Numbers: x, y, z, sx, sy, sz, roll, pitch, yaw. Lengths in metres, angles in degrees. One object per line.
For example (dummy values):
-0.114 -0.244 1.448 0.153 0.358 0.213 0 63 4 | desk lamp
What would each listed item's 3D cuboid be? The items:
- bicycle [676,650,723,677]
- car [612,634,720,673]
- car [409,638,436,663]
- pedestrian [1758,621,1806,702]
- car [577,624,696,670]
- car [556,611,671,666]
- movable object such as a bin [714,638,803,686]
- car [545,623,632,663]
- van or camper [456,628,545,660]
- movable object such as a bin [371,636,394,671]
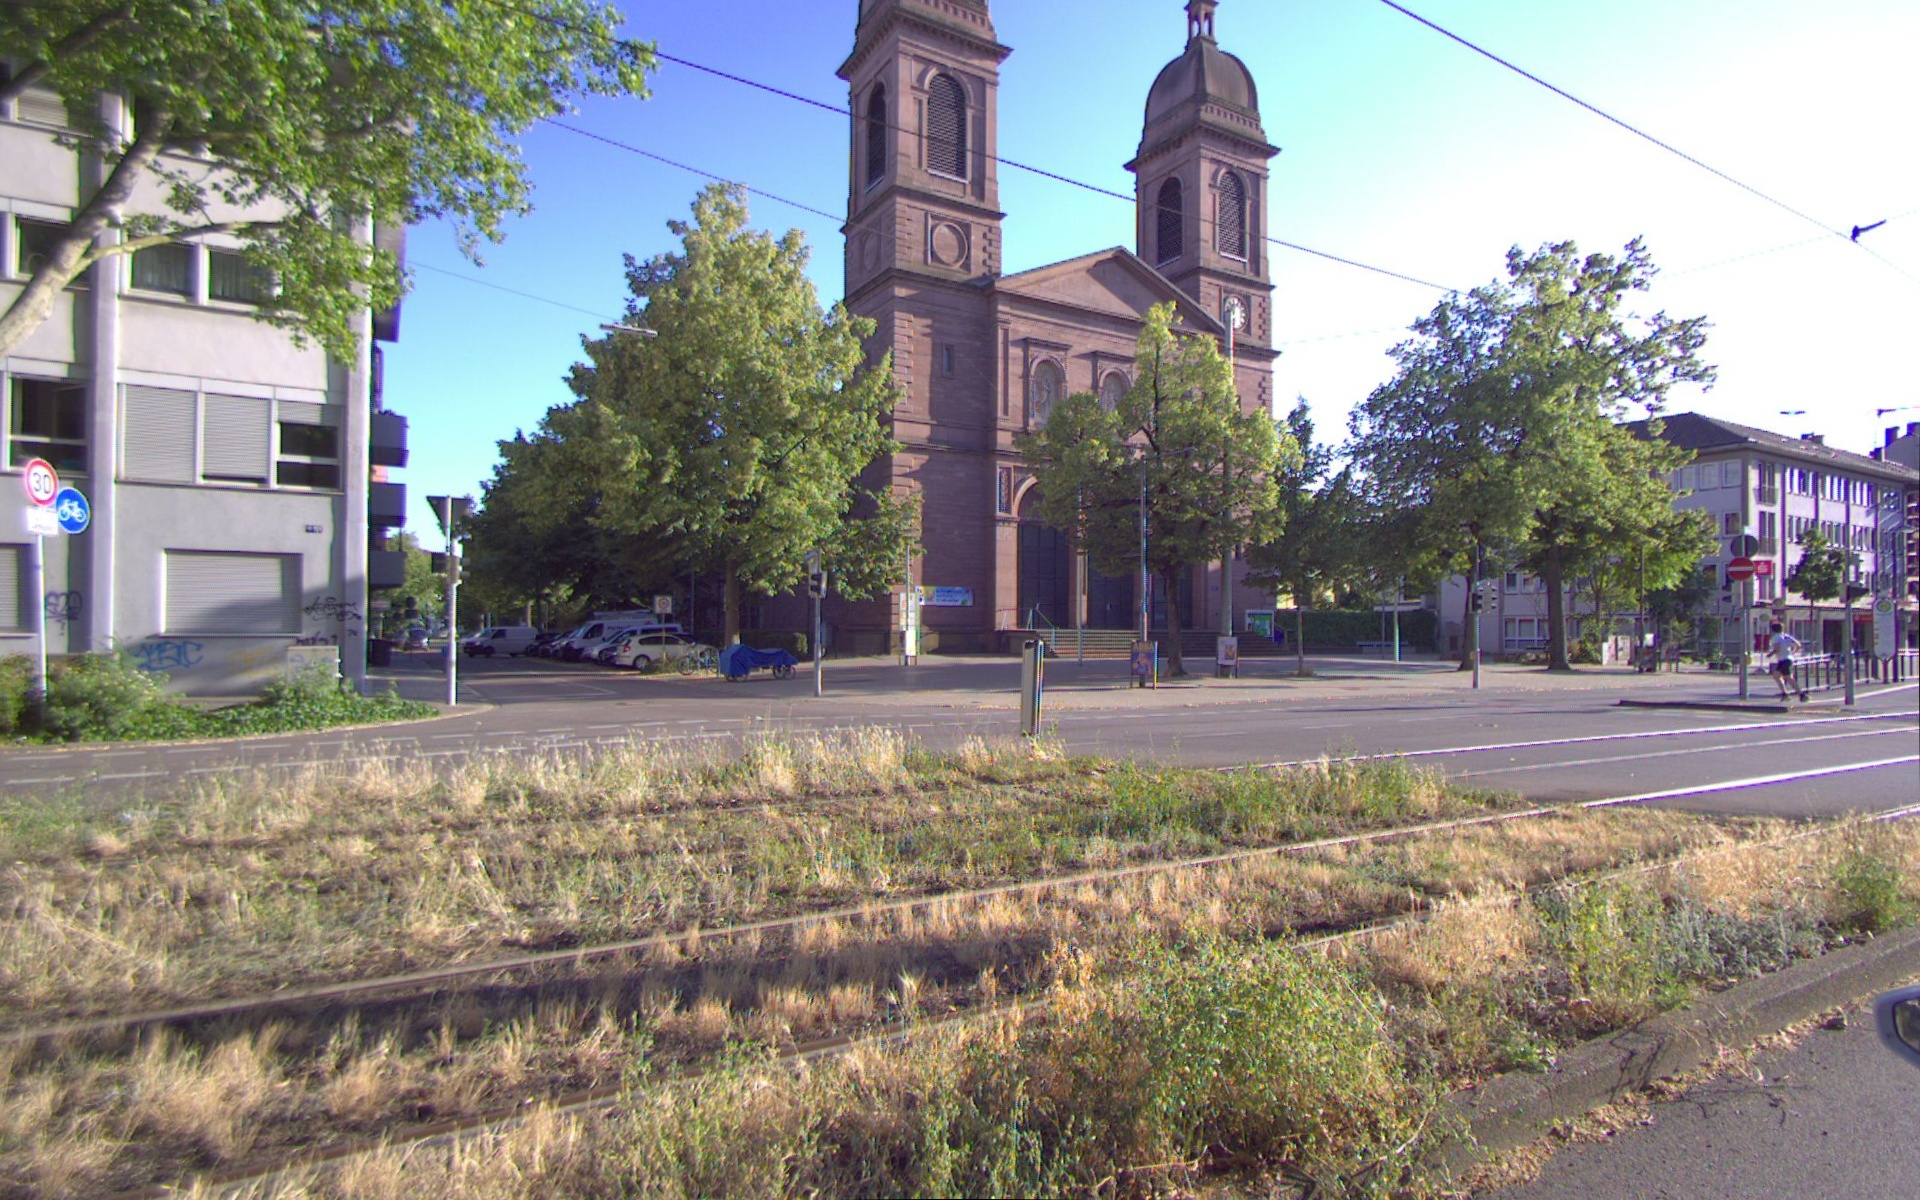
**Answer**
-9.065 2.198 34.962 1.517 0.904 0.465 2 0 -27 | bicycle
-12.231 2.219 41.821 3.953 1.479 1.984 2 0 -30 | car
-45.776 4.289 85.467 1.976 2.040 3.970 1 -2 -29 | car
18.557 1.365 22.680 0.680 1.794 0.676 1 -2 -34 | pedestrian
-15.527 2.225 48.315 5.121 2.040 1.981 2 0 -34 | car
-18.300 2.014 53.108 5.382 2.710 1.980 2 0 -36 | car
-6.157 1.863 30.712 2.416 1.228 1.102 -3 2 -30 | movable object such as a bin
-20.429 2.359 55.266 4.174 2.040 1.981 2 0 -34 | car
-29.958 2.845 65.636 1.964 2.040 5.127 0 -2 29 | van or camper
-22.307 2.074 38.805 0.737 1.323 0.865 1 -2 -32 | movable object such as a bin
